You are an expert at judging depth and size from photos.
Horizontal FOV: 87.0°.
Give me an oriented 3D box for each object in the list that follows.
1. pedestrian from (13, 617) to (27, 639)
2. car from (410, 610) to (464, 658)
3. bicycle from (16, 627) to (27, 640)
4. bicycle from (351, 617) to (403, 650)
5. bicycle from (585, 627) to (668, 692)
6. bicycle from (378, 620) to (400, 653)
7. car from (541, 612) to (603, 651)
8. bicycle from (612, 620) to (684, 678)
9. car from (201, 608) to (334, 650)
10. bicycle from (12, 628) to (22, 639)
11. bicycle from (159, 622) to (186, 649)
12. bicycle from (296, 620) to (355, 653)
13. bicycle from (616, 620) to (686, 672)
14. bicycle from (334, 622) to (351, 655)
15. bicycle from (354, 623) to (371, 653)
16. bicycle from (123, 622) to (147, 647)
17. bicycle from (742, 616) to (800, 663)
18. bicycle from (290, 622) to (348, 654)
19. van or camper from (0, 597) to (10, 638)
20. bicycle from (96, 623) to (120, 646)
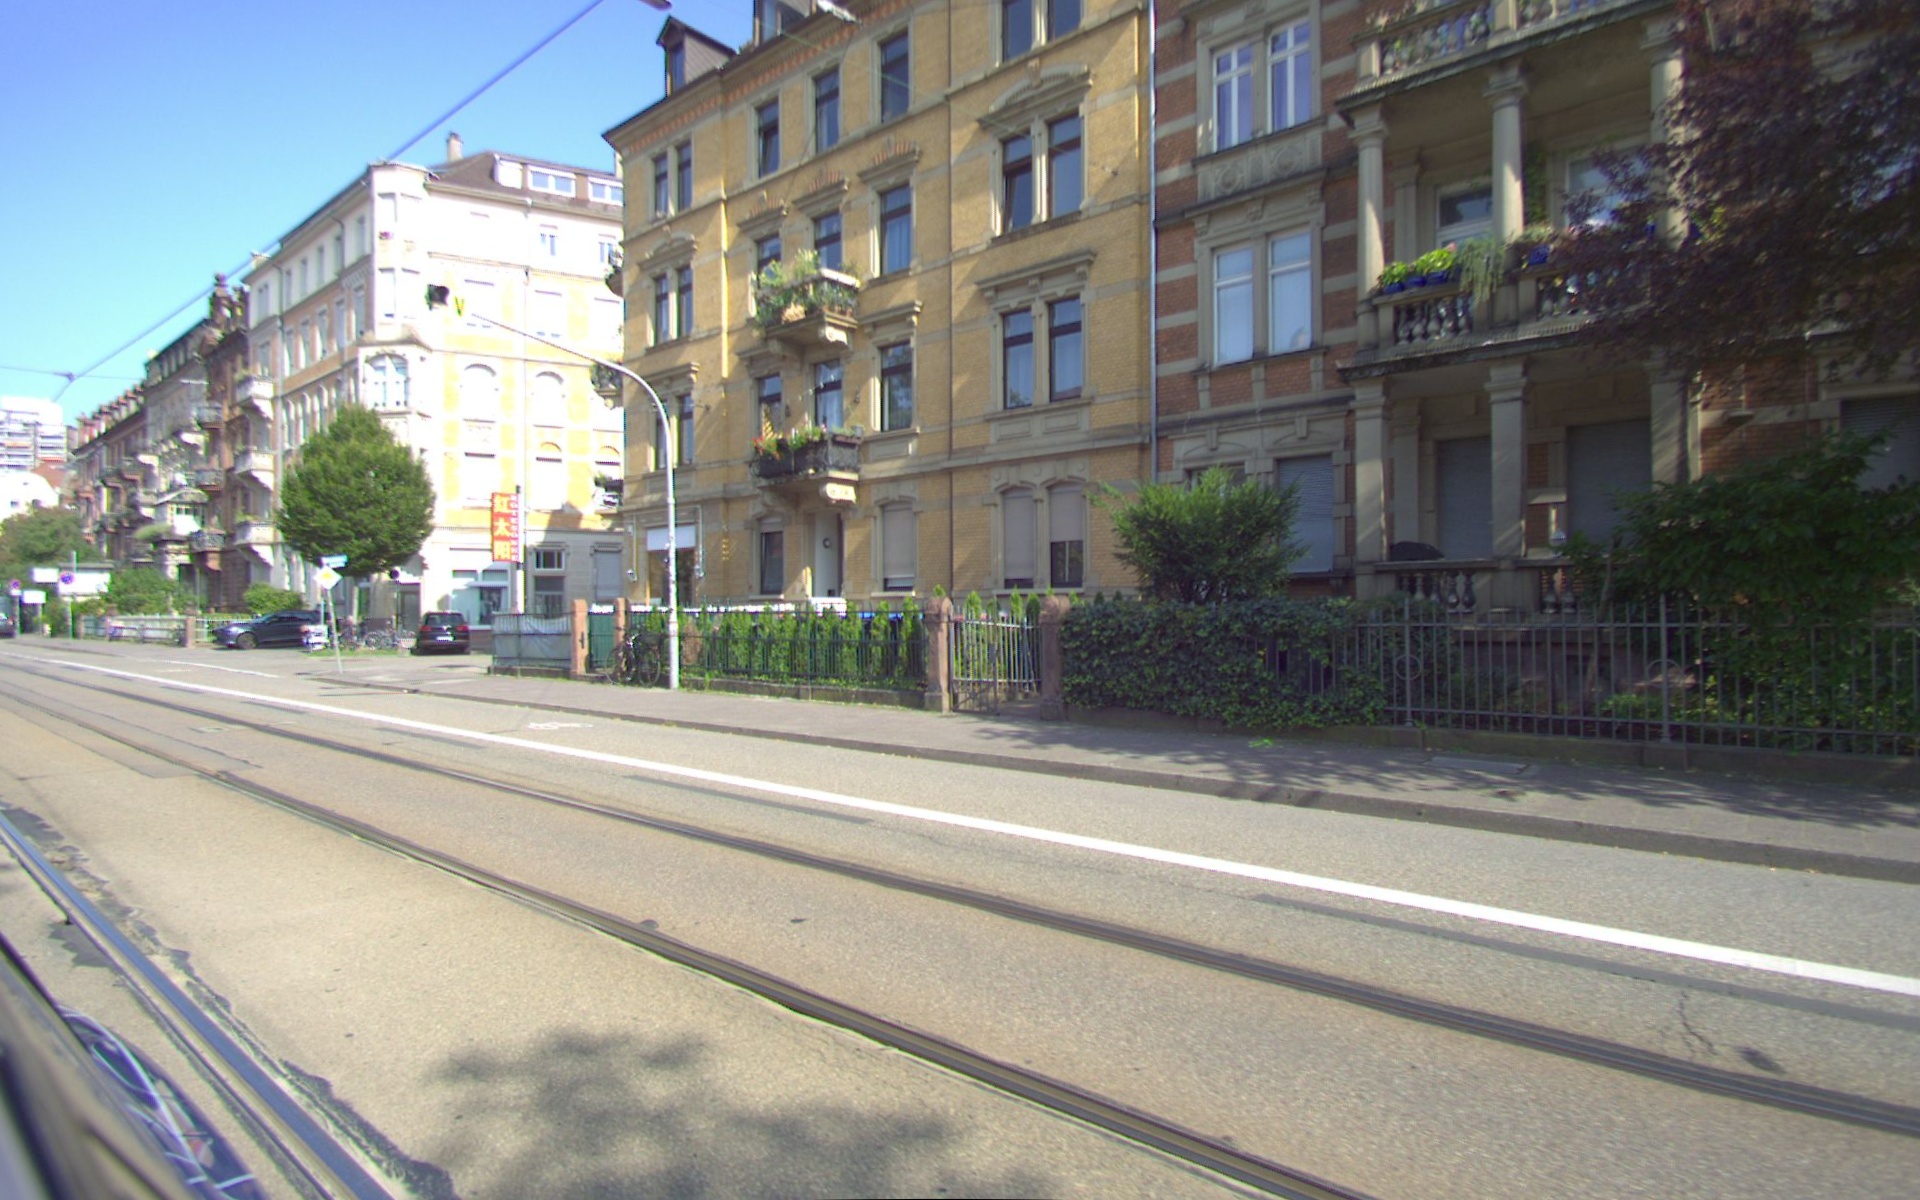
[{"bbox_3d":[-72.549,2.160,78.072,0.631,1.691,0.632,-1,-1,29],"label":"pedestrian"},{"bbox_3d":[-20.062,1.256,38.780,1.738,1.673,3.780,-2,1,-28],"label":"car"},{"bbox_3d":[-72.851,2.592,78.551,1.703,0.934,0.520,-2,-1,44],"label":"bicycle"},{"bbox_3d":[-23.076,1.319,40.071,1.744,1.266,0.544,1,-1,-35],"label":"bicycle"},{"bbox_3d":[-6.124,1.063,18.543,2.002,1.116,0.503,-1,-1,41],"label":"bicycle"},{"bbox_3d":[-21.788,1.382,38.616,0.534,1.239,1.777,1,-1,-36],"label":"bicycle"},{"bbox_3d":[-16.058,1.259,41.795,1.738,1.538,3.779,0,-1,-31],"label":"car"},{"bbox_3d":[-6.175,0.947,20.075,0.416,1.068,1.345,-1,1,38],"label":"bicycle"},{"bbox_3d":[-28.300,1.155,41.437,2.063,1.554,4.095,0,1,40],"label":"car"},{"bbox_3d":[-74.177,2.649,79.611,1.703,0.866,0.520,-2,-1,44],"label":"bicycle"},{"bbox_3d":[-32.469,1.456,41.723,1.839,1.066,0.539,-1,3,42],"label":"bicycle"},{"bbox_3d":[-24.176,1.377,38.586,0.541,1.190,1.843,-1,-1,30],"label":"bicycle"},{"bbox_3d":[-6.553,0.961,21.532,0.416,1.068,1.469,-1,-1,38],"label":"bicycle"},{"bbox_3d":[-23.016,1.419,37.753,0.475,1.168,1.778,1,-1,-30],"label":"bicycle"},{"bbox_3d":[-22.478,1.424,38.080,0.534,1.098,1.842,1,-1,-31],"label":"bicycle"},{"bbox_3d":[-37.778,1.569,46.317,1.839,1.066,0.539,-1,3,42],"label":"bicycle"},{"bbox_3d":[-4.473,0.923,23.997,0.416,1.068,1.469,-1,-1,38],"label":"bicycle"},{"bbox_3d":[-24.559,1.447,38.816,0.541,1.206,1.834,-1,-1,30],"label":"bicycle"},{"bbox_3d":[-64.365,1.150,66.982,2.026,2.664,6.097,1,-1,-42],"label":"van or camper"},{"bbox_3d":[-42.264,1.710,50.194,1.839,1.066,0.600,-1,3,42],"label":"bicycle"}]
